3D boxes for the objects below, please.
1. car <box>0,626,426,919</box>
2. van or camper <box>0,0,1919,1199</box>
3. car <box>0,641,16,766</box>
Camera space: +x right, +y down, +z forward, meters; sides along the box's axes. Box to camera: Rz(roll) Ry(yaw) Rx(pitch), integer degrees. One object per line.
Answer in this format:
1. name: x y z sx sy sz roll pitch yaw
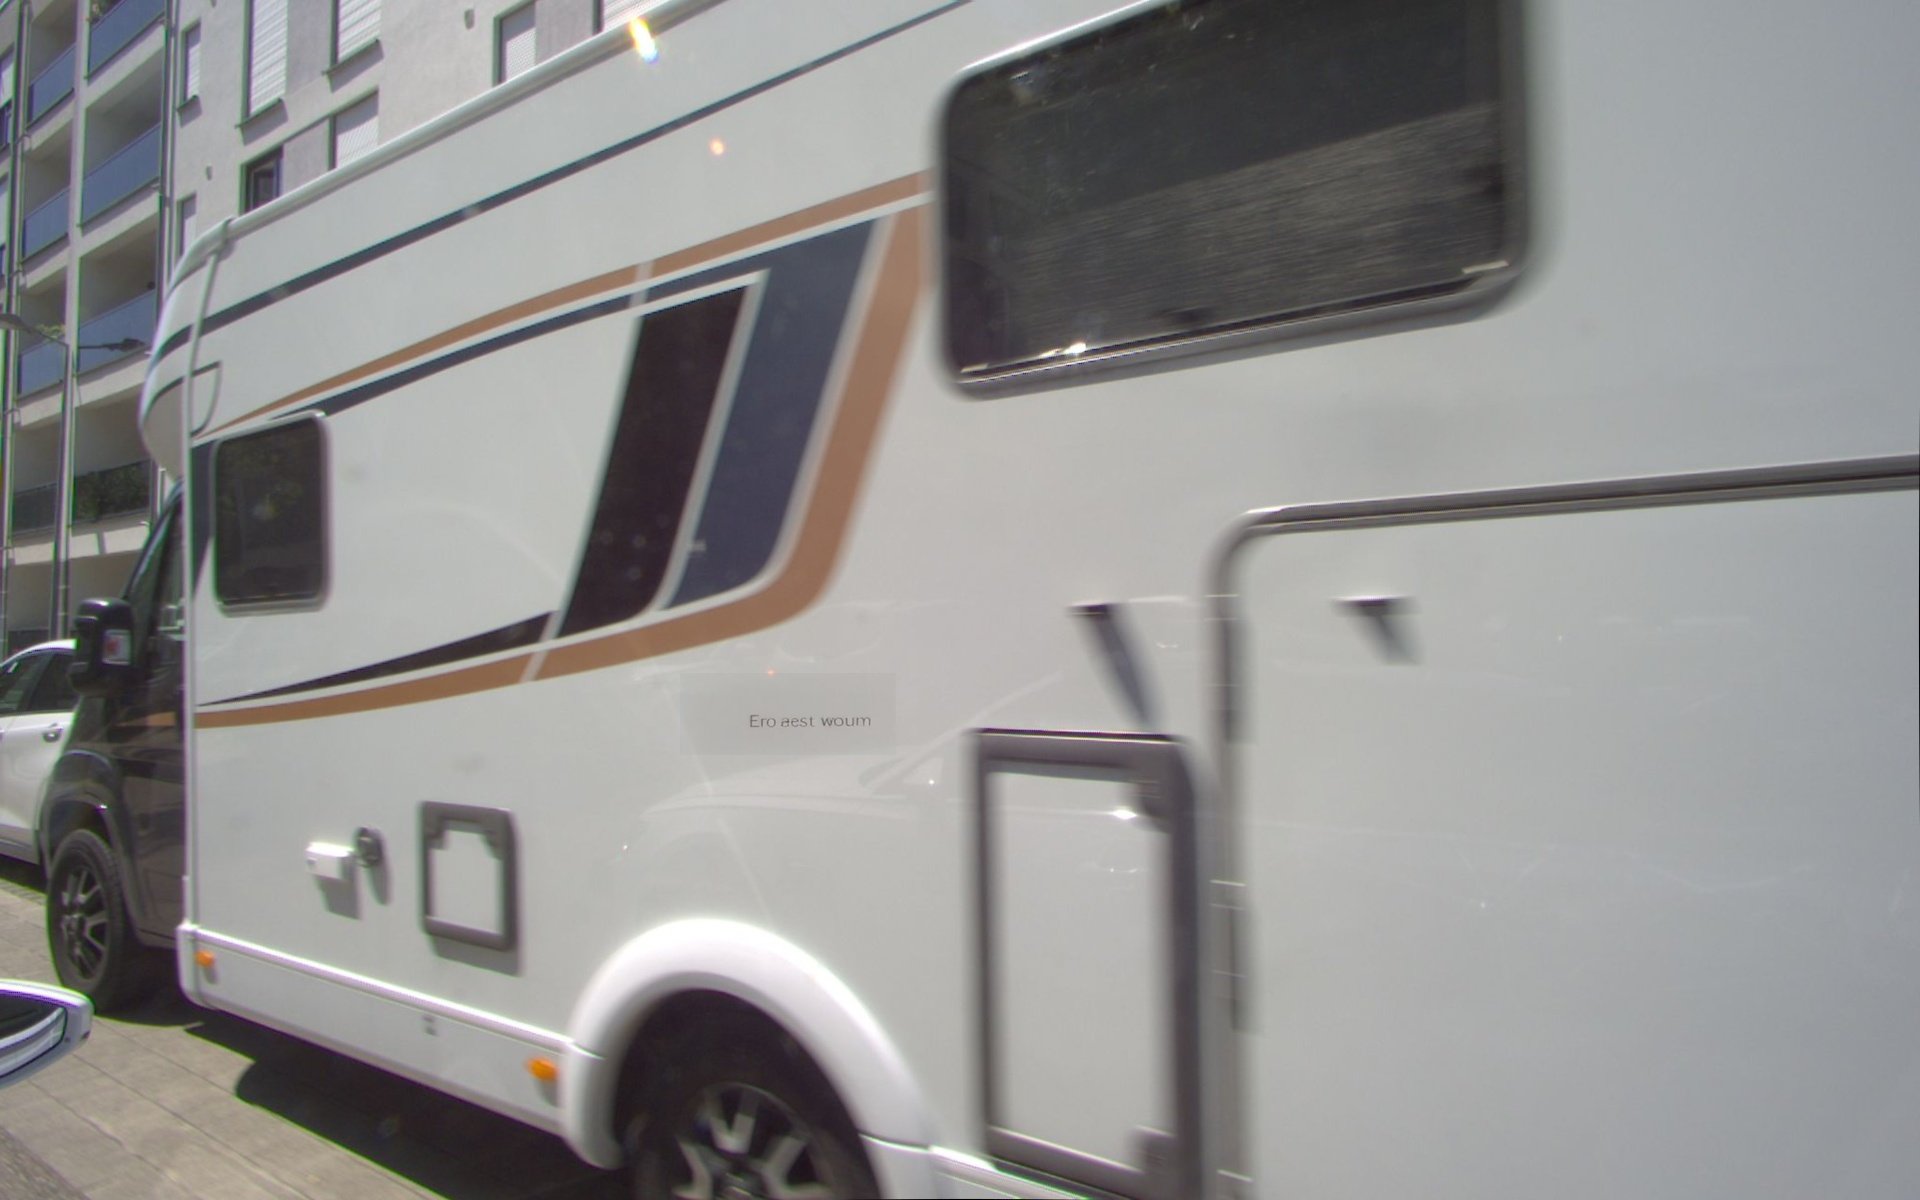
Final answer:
1. car: -5.868 0.961 7.084 4.198 1.524 1.804 -1 -2 31
2. van or camper: -0.802 0.156 3.509 7.715 2.941 2.436 -2 -4 32
3. car: -13.252 1.206 12.030 4.365 1.433 1.842 -2 -3 34
